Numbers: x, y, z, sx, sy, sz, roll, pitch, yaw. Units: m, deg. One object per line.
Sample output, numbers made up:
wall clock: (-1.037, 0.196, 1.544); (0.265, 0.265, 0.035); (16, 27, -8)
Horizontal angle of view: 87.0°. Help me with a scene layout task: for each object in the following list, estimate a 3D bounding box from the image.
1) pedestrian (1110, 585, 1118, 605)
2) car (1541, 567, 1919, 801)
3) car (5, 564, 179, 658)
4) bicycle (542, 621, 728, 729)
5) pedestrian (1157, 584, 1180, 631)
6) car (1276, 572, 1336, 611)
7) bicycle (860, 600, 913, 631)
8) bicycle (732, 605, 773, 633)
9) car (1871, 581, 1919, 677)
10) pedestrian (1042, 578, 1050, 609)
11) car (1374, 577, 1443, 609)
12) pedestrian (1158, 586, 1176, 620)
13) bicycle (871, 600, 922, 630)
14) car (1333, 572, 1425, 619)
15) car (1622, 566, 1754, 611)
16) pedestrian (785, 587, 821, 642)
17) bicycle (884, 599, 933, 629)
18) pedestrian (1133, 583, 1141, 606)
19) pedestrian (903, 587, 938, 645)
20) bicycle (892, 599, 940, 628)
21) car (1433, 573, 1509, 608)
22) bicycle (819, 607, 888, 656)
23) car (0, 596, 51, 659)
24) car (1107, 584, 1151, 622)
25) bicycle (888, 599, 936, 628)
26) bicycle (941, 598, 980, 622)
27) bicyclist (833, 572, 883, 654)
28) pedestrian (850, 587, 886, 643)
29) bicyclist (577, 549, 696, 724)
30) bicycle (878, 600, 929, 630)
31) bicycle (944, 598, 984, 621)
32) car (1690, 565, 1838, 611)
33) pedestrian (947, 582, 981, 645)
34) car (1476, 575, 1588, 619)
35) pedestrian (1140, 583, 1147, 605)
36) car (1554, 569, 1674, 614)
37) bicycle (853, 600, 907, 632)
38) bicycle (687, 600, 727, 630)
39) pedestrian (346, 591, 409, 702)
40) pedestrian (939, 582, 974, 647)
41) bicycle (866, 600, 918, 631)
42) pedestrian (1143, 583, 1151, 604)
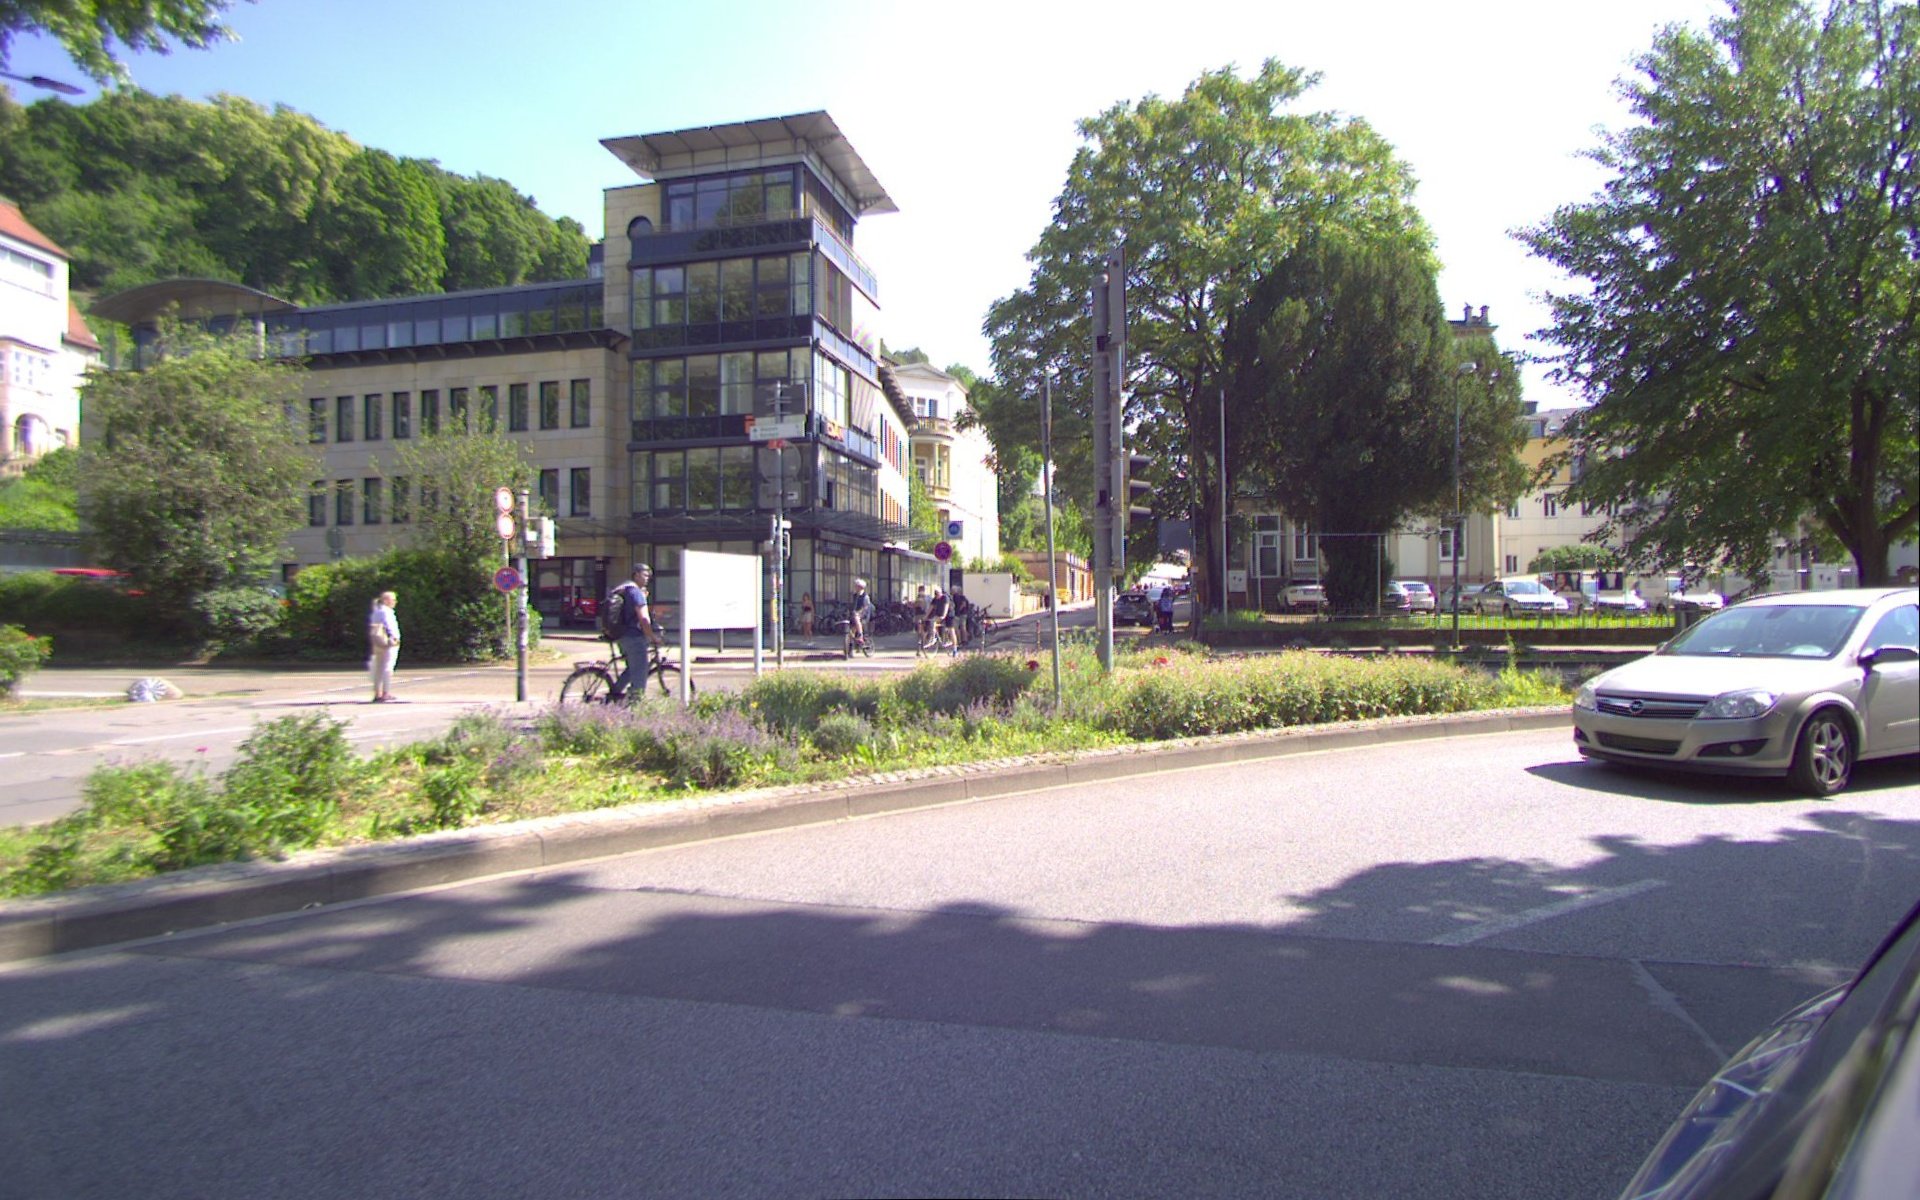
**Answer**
pedestrian: (15.286, -0.503, 100.462); (0.711, 2.039, 0.859); (-1, 0, 11)
car: (7.299, 0.527, 8.441); (4.396, 1.519, 1.724); (-2, 1, -18)
car: (-25.678, 0.336, 29.986); (3.937, 2.605, 1.931); (-2, 0, 12)
bicycle: (-3.802, 0.834, 11.992); (0.752, 1.127, 2.056); (-2, -1, 36)
pedestrian: (7.282, 0.273, 35.371); (0.730, 1.601, 1.118); (-2, 0, 13)
car: (15.394, -0.363, 45.232); (1.792, 1.624, 4.310); (-1, 0, 9)
bicycle: (-2.649, 0.560, 36.283); (1.807, 1.099, 0.537); (-1, 0, 14)
bicycle: (-7.141, 0.644, 34.872); (1.320, 0.953, 0.405); (-1, 0, 13)
car: (16.803, 0.404, 14.898); (4.672, 1.455, 1.995); (-1, 0, 8)
pedestrian: (5.704, -0.438, 66.941); (0.485, 2.039, 0.578); (-1, 0, 7)
car: (20.000, -0.299, 45.278); (1.792, 1.353, 4.078); (-1, 0, 9)
pedestrian: (9.536, 0.135, 46.664); (0.759, 1.565, 0.664); (-1, 0, 14)
bicycle: (-2.366, 0.553, 37.488); (1.807, 1.099, 0.537); (-1, 0, 14)
car: (14.486, -0.150, 35.219); (1.846, 1.494, 4.148); (-1, 0, 7)
car: (23.570, -0.345, 32.958); (1.830, 1.353, 4.042); (-1, 0, 9)
pedestrian: (-4.817, 0.445, 31.016); (0.820, 1.684, 0.768); (-1, -1, 22)
bicycle: (-1.978, 0.543, 38.729); (1.807, 1.099, 0.537); (-1, 0, 14)
pedestrian: (16.038, -0.525, 91.736); (0.711, 2.039, 0.859); (-1, 0, 11)
pedestrian: (-1.172, 0.481, 29.824); (0.818, 1.684, 0.769); (-1, -1, 17)
bicycle: (-1.734, 0.537, 39.951); (1.807, 1.099, 0.537); (-1, 0, 14)
car: (22.423, -0.404, 44.535); (1.792, 1.437, 4.051); (-1, 0, 9)
bicycle: (-2.568, 0.748, 24.635); (0.748, 1.127, 2.066); (-1, -1, 24)
car: (-30.454, 0.872, 31.016); (3.937, 1.886, 1.931); (-1, 0, 12)
car: (7.823, 0.138, 46.644); (1.805, 1.667, 4.118); (-1, 0, 12)
bicycle: (-1.863, 0.541, 39.316); (1.807, 1.099, 0.537); (-1, 0, 14)
bicycle: (0.017, 0.467, 48.225); (1.807, 1.099, 0.537); (-1, 0, 14)
bicyclist: (-2.500, 0.325, 24.810); (0.740, 1.957, 1.120); (-2, -1, 24)
pedestrian: (-2.819, 0.453, 31.002); (0.820, 1.684, 0.768); (-1, -1, 22)
bicyclist: (-3.824, 0.410, 11.991); (0.744, 1.957, 1.115); (-2, -1, 37)
bicycle: (-2.121, 0.547, 38.066); (1.807, 1.099, 0.537); (-1, 0, 14)
bicycle: (0.190, 0.462, 48.803); (1.807, 1.099, 0.537); (-1, 0, 14)
car: (25.819, -0.373, 32.685); (1.959, 1.353, 4.042); (-1, 0, 9)
pedestrian: (0.119, 0.409, 30.756); (0.819, 1.878, 0.768); (-1, -1, 20)
car: (18.999, -0.097, 33.856); (1.792, 1.353, 4.468); (-1, 0, 9)
pedestrian: (17.554, -0.563, 96.795); (0.711, 2.039, 0.859); (-1, 0, 11)
car: (21.491, -0.261, 33.445); (1.792, 1.353, 4.087); (-1, 0, 9)
bicycle: (-2.821, 0.564, 35.749); (1.807, 1.099, 0.537); (-1, 0, 14)
bicycle: (-8.876, 0.531, 35.480); (1.320, 1.025, 0.405); (-1, 0, 13)
pedestrian: (-8.828, 0.685, 15.344); (0.626, 1.641, 0.545); (-1, 0, 21)
pedestrian: (-0.104, 0.422, 29.925); (0.818, 1.878, 0.769); (-1, -1, 18)
bicycle: (-2.495, 0.556, 36.907); (1.807, 1.099, 0.537); (-1, 0, 14)
pedestrian: (18.683, -0.643, 101.067); (0.711, 2.039, 0.859); (-1, 0, 11)
